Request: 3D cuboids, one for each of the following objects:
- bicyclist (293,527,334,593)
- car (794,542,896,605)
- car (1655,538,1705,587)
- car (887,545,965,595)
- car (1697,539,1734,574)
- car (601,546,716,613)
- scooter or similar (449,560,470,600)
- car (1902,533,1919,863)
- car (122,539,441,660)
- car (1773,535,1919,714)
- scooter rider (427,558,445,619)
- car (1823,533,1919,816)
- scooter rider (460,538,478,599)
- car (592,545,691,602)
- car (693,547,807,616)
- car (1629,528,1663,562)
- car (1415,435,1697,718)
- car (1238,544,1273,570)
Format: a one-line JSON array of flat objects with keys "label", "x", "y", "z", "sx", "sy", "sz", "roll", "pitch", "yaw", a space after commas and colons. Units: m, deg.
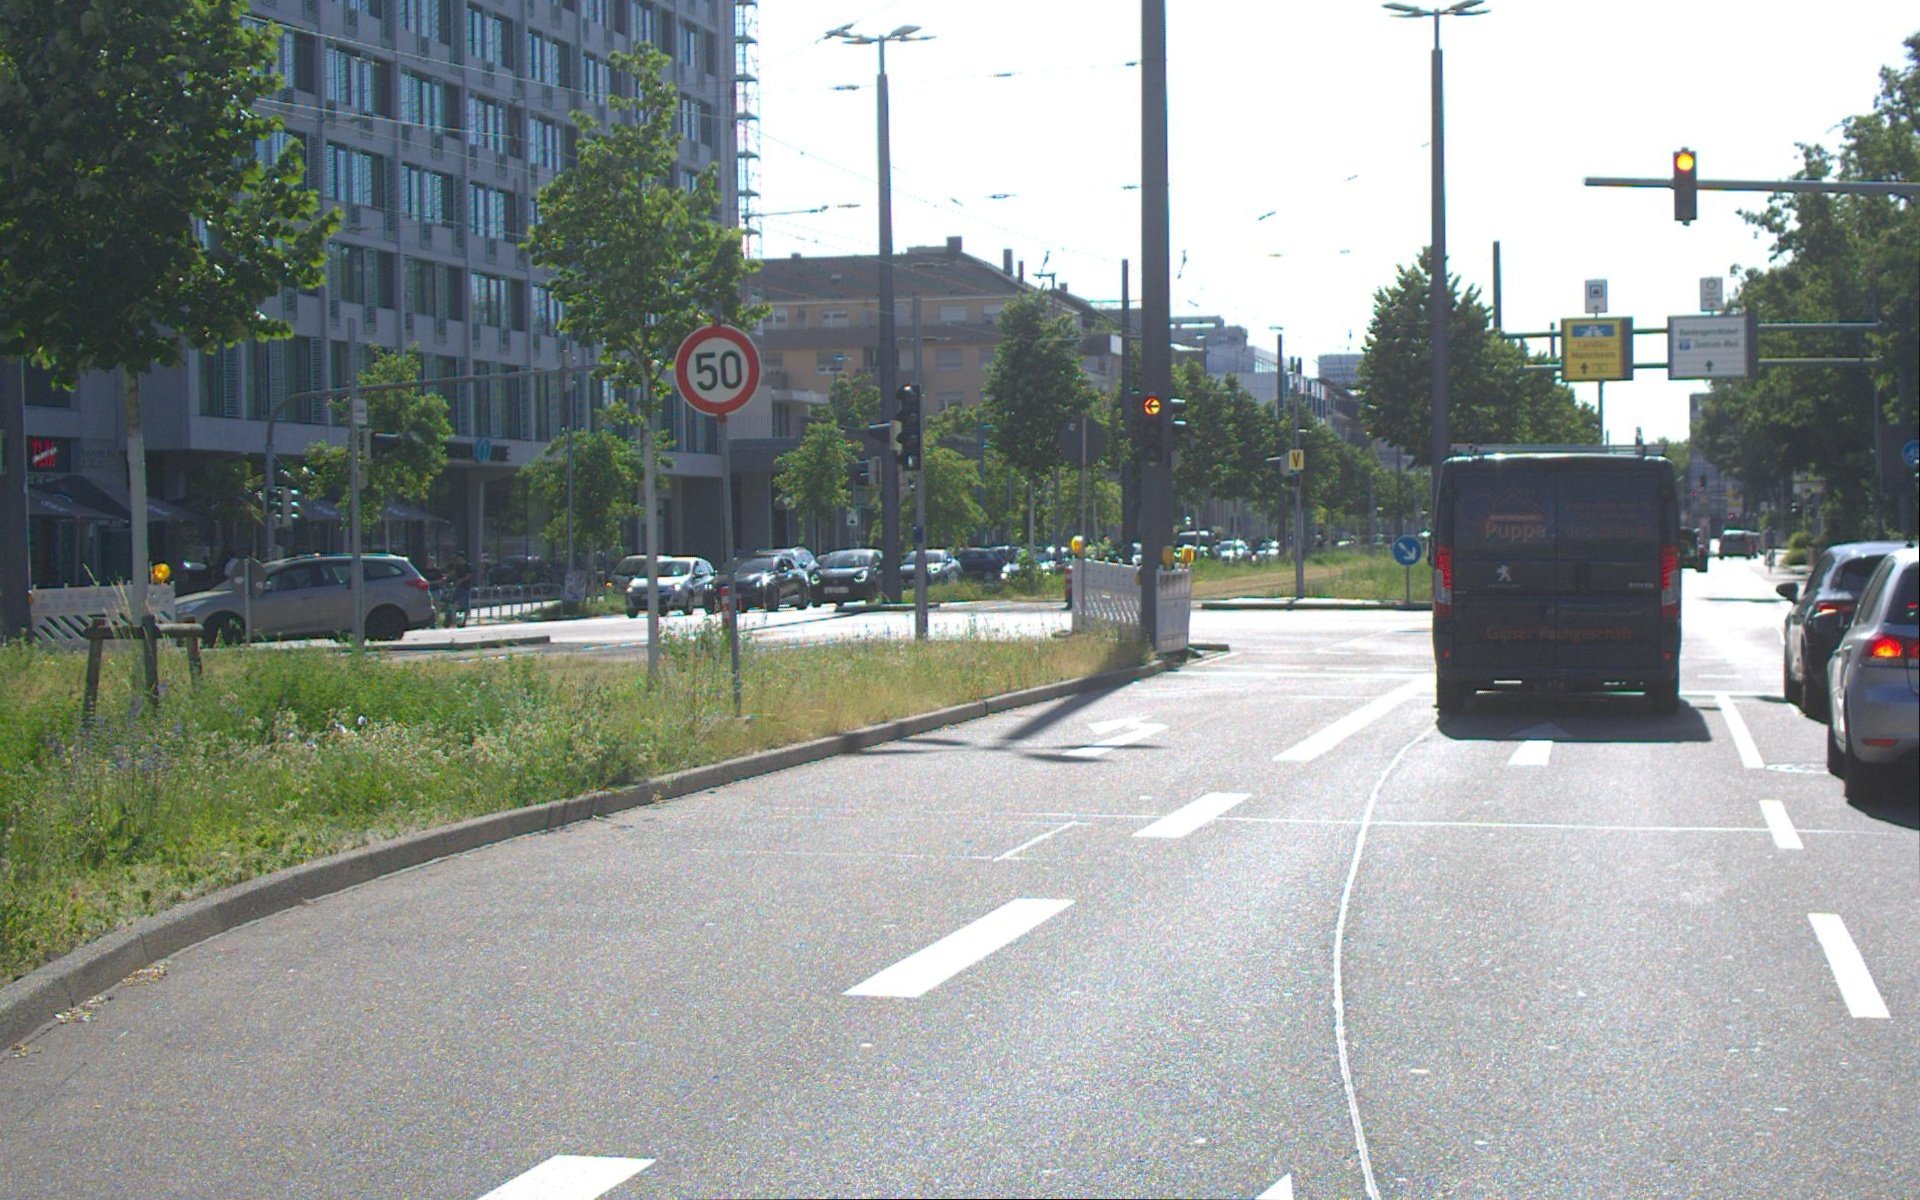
[{"label": "bicyclist", "x": -15.671, "y": -0.973, "z": 83.327, "sx": 0.594, "sy": 1.575, "sz": 0.892, "roll": 2, "pitch": 1, "yaw": 16}, {"label": "car", "x": -3.096, "y": -0.743, "z": 93.244, "sx": 1.791, "sy": 1.645, "sz": 3.998, "roll": 0, "pitch": 1, "yaw": 13}, {"label": "car", "x": 28.106, "y": -1.461, "z": 134.209, "sx": 1.792, "sy": 1.867, "sz": 3.848, "roll": 1, "pitch": 1, "yaw": 10}, {"label": "car", "x": -1.148, "y": -1.037, "z": 117.217, "sx": 1.791, "sy": 1.645, "sz": 3.998, "roll": 0, "pitch": 1, "yaw": 13}, {"label": "car", "x": 41.451, "y": -2.370, "z": 188.648, "sx": 1.792, "sy": 1.867, "sz": 3.848, "roll": 1, "pitch": 1, "yaw": 10}, {"label": "car", "x": -7.725, "y": -0.551, "z": 88.408, "sx": 1.791, "sy": 1.645, "sz": 3.998, "roll": 0, "pitch": 1, "yaw": 13}, {"label": "scooter or similar", "x": -11.823, "y": -0.480, "z": 81.183, "sx": 0.228, "sy": 0.944, "sz": 0.767, "roll": -1, "pitch": 1, "yaw": 13}, {"label": "car", "x": 4.742, "y": 0.464, "z": 13.386, "sx": 1.748, "sy": 1.422, "sz": 4.836, "roll": 1, "pitch": 1, "yaw": 12}, {"label": "car", "x": -10.642, "y": -0.040, "z": 53.979, "sx": 4.512, "sy": 1.786, "sz": 2.000, "roll": -1, "pitch": 1, "yaw": -29}, {"label": "car", "x": 8.029, "y": 0.175, "z": 29.569, "sx": 1.792, "sy": 1.423, "sz": 3.848, "roll": 1, "pitch": 1, "yaw": 10}, {"label": "scooter rider", "x": -12.429, "y": -0.273, "z": 81.574, "sx": 0.342, "sy": 1.448, "sz": 0.239, "roll": -1, "pitch": 1, "yaw": 13}, {"label": "car", "x": 6.129, "y": 0.375, "z": 20.549, "sx": 1.750, "sy": 1.522, "sz": 4.003, "roll": 1, "pitch": 1, "yaw": 13}, {"label": "scooter rider", "x": -11.603, "y": -0.743, "z": 81.176, "sx": 0.342, "sy": 1.448, "sz": 0.239, "roll": -1, "pitch": 1, "yaw": 13}, {"label": "car", "x": -9.513, "y": -0.811, "z": 103.028, "sx": 1.791, "sy": 1.645, "sz": 3.998, "roll": 0, "pitch": 1, "yaw": 13}, {"label": "car", "x": -5.191, "y": -0.479, "z": 85.405, "sx": 1.791, "sy": 1.645, "sz": 3.998, "roll": 0, "pitch": 1, "yaw": 13}, {"label": "car", "x": 38.721, "y": -3.099, "z": 194.213, "sx": 1.792, "sy": 1.867, "sz": 3.848, "roll": 1, "pitch": 1, "yaw": 10}, {"label": "car", "x": 5.262, "y": -0.264, "z": 30.163, "sx": 2.219, "sy": 2.259, "sz": 4.482, "roll": 1, "pitch": 2, "yaw": 11}, {"label": "car", "x": 19.379, "y": -2.811, "z": 225.412, "sx": 1.791, "sy": 1.645, "sz": 3.998, "roll": 0, "pitch": 1, "yaw": 13}]
